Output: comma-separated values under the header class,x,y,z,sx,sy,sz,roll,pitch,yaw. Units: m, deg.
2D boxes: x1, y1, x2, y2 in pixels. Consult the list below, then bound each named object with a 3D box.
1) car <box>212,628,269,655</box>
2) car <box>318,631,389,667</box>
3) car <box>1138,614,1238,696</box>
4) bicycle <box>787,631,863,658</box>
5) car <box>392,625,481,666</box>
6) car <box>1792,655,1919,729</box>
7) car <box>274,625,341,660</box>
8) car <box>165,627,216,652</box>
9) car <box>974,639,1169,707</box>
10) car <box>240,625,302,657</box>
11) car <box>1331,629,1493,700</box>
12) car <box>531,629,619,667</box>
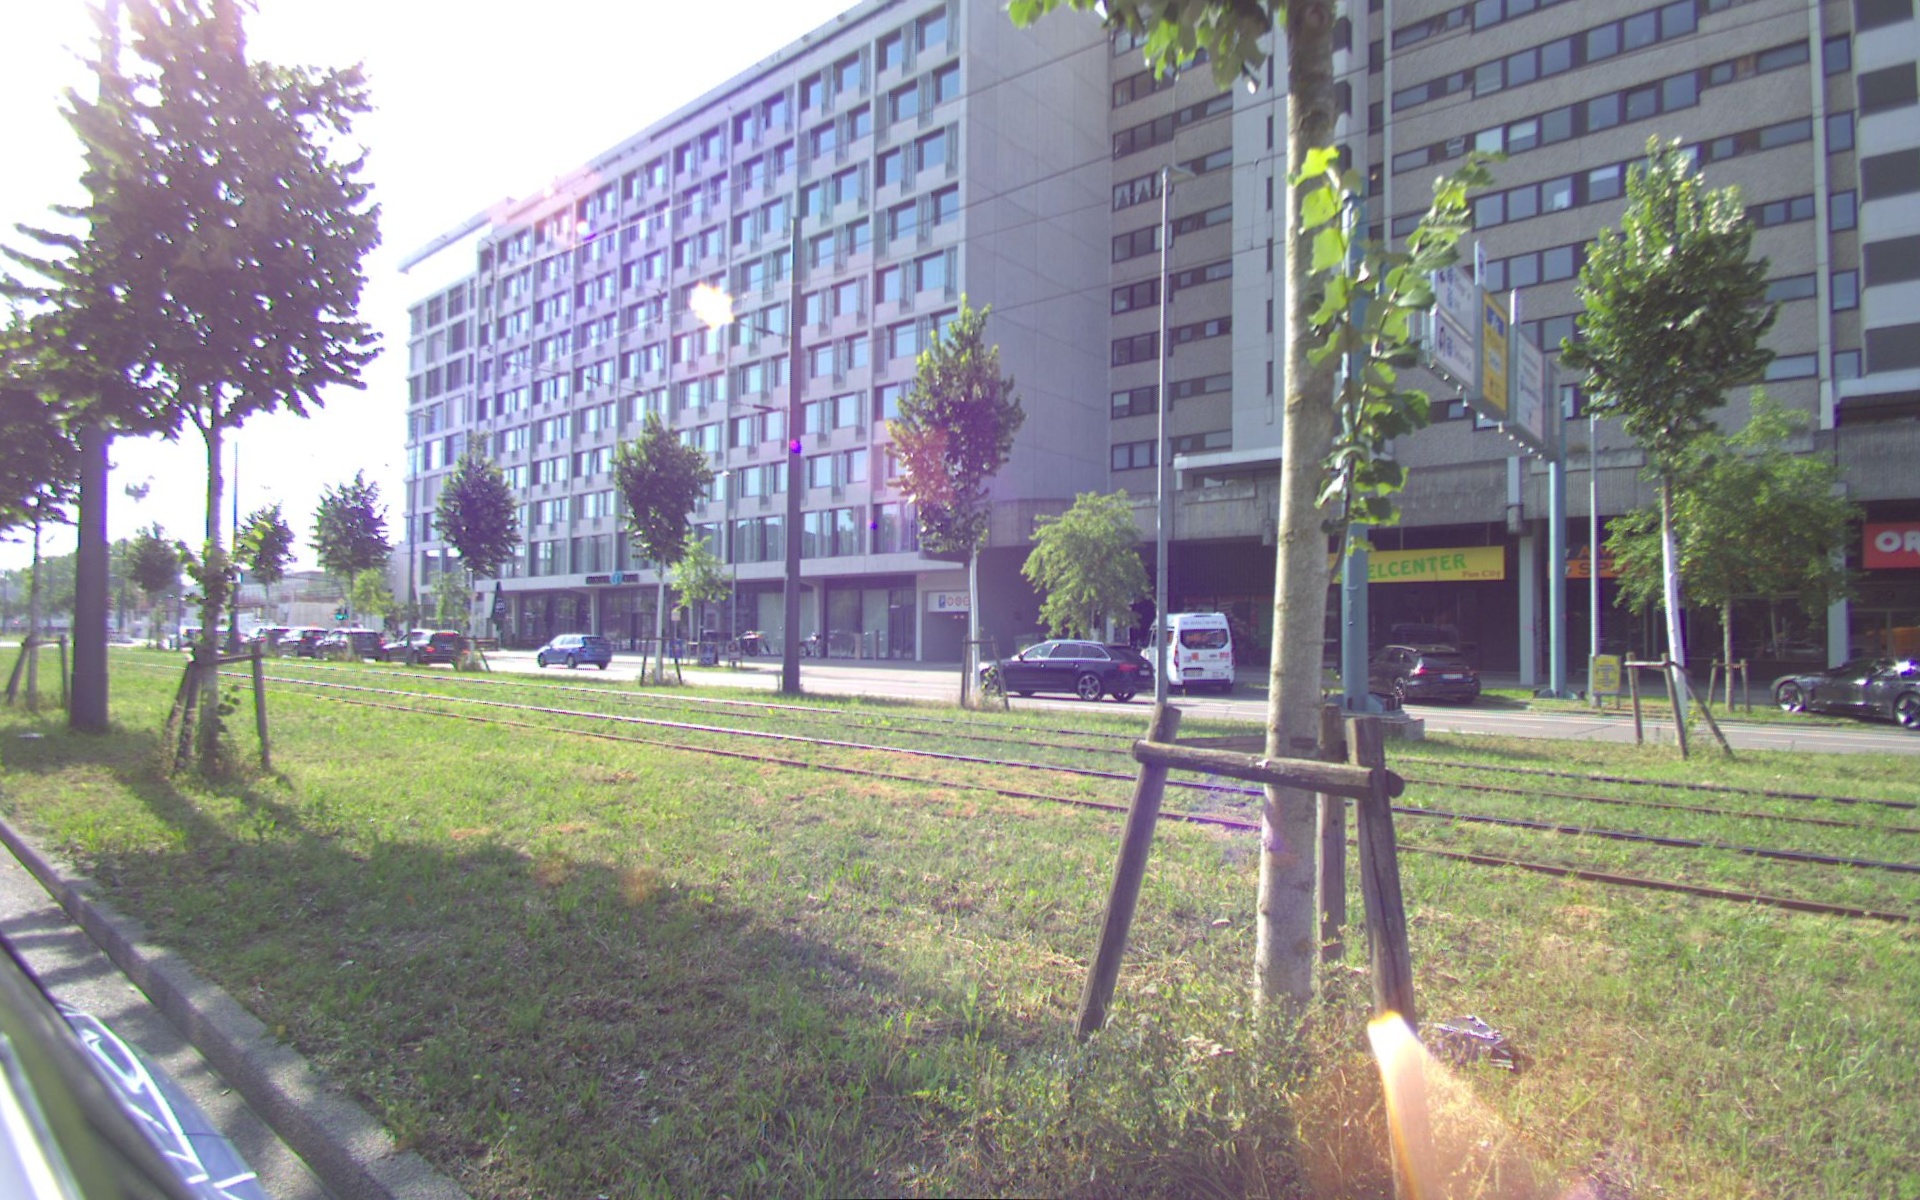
class,x,y,z,sx,sy,sz,roll,pitch,yaw
car,-40.522,2.316,56.968,4.000,1.486,1.788,-2,-3,43
car,-26.829,2.135,44.720,3.641,1.498,1.722,-2,-3,43
car,6.933,1.650,31.385,1.858,2.326,5.407,0,-2,0
bicycle,-7.035,2.331,52.883,3.937,1.377,1.128,2,-3,-40
car,-20.100,1.711,38.795,4.000,1.492,1.788,-2,-3,43
car,19.344,1.834,20.335,1.853,1.253,4.110,-1,0,1
car,-31.604,2.031,48.962,4.000,1.586,1.788,-2,-3,43
car,-48.384,2.452,63.573,3.998,1.536,1.764,-1,-3,41
car,2.703,1.719,24.963,4.411,1.502,1.975,-1,-3,36
car,-35.775,2.100,52.507,4.000,1.586,1.788,-2,-3,43
car,11.708,1.628,26.529,2.070,1.594,4.005,-2,-1,-6
car,-16.710,2.039,43.864,4.000,1.586,1.972,-2,-3,43
